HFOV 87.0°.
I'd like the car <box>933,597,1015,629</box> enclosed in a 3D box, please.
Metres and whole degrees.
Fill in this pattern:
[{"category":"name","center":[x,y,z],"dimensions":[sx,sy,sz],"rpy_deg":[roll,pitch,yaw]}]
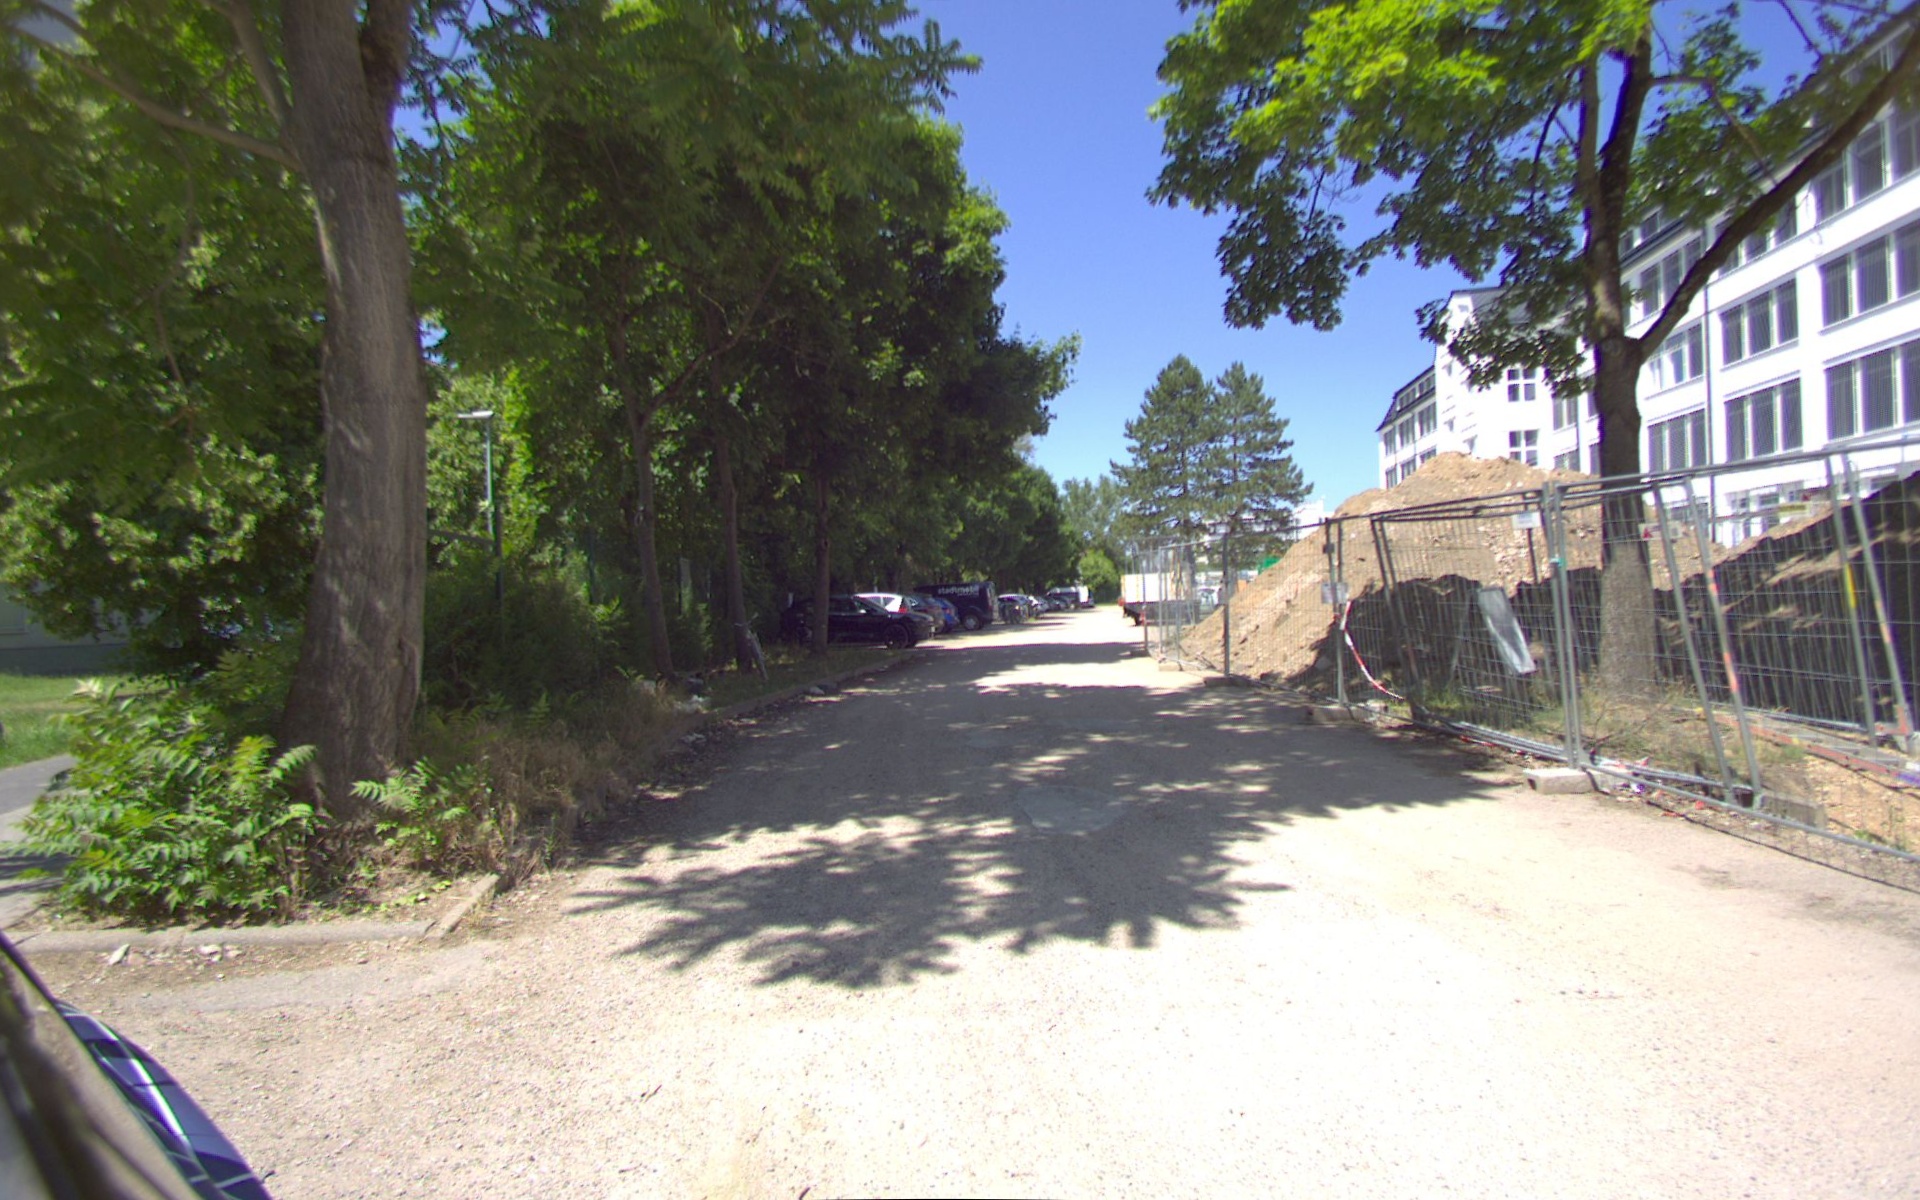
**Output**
[{"category":"car","center":[0.727,0.625,49.416],"dimensions":[3.749,1.420,1.735],"rpy_deg":[-2,0,11]}]

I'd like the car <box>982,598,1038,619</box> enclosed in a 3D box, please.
[{"category":"car","center":[3.563,0.598,71.350],"dimensions":[3.749,1.420,1.735],"rpy_deg":[-2,0,11]}]

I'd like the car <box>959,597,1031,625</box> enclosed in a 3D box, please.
[{"category":"car","center":[1.943,0.581,55.878],"dimensions":[3.749,1.420,1.735],"rpy_deg":[-2,0,11]}]

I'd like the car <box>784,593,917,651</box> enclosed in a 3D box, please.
[{"category":"car","center":[-3.346,0.656,31.288],"dimensions":[3.747,1.647,1.843],"rpy_deg":[-2,0,9]}]

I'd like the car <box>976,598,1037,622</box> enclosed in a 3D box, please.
[{"category":"car","center":[3.018,0.647,65.316],"dimensions":[3.749,1.420,1.735],"rpy_deg":[-2,0,11]}]

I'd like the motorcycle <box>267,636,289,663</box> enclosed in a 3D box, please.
[{"category":"motorcycle","center":[-32.910,2.376,48.833],"dimensions":[0.688,1.176,2.318],"rpy_deg":[-2,0,-30]}]

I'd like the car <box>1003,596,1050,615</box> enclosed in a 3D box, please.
[{"category":"car","center":[5.568,0.467,84.616],"dimensions":[3.749,1.420,1.735],"rpy_deg":[-2,0,11]}]

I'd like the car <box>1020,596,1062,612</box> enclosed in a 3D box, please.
[{"category":"car","center":[7.724,0.334,96.225],"dimensions":[3.749,1.420,1.735],"rpy_deg":[-2,0,11]}]

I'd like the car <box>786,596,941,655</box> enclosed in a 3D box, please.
[{"category":"car","center":[-2.645,0.699,28.122],"dimensions":[3.956,1.514,1.685],"rpy_deg":[-2,0,10]}]

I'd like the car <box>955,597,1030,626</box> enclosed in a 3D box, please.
[{"category":"car","center":[1.746,0.615,53.914],"dimensions":[3.749,1.420,1.735],"rpy_deg":[-2,0,11]}]

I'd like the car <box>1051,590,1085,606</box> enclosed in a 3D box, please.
[{"category":"car","center":[12.280,-0.197,115.271],"dimensions":[3.749,1.734,1.735],"rpy_deg":[-2,0,11]}]

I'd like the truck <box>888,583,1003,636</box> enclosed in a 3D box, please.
[{"category":"truck","center":[-0.559,0.386,41.911],"dimensions":[4.410,2.009,1.993],"rpy_deg":[-2,0,11]}]

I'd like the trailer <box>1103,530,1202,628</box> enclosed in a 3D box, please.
[{"category":"trailer","center":[7.940,-0.803,40.772],"dimensions":[3.016,3.447,8.724],"rpy_deg":[-1,0,17]}]

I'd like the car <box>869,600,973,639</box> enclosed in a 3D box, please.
[{"category":"car","center":[-1.481,0.747,39.356],"dimensions":[3.747,1.420,1.736],"rpy_deg":[-2,0,9]}]

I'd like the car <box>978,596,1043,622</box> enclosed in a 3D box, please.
[{"category":"car","center":[3.070,0.538,61.168],"dimensions":[3.749,1.420,1.735],"rpy_deg":[-2,0,11]}]

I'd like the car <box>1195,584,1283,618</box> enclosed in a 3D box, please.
[{"category":"car","center":[12.826,0.051,46.697],"dimensions":[3.749,1.420,1.735],"rpy_deg":[-2,0,11]}]

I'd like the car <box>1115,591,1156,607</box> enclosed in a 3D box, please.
[{"category":"car","center":[16.601,-0.063,95.748],"dimensions":[3.749,1.420,1.735],"rpy_deg":[-2,0,11]}]

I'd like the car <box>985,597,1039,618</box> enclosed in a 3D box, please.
[{"category":"car","center":[3.812,0.570,74.141],"dimensions":[3.749,1.420,1.735],"rpy_deg":[-2,0,11]}]

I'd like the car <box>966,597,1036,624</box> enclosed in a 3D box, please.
[{"category":"car","center":[2.375,0.572,57.688],"dimensions":[3.749,1.420,1.735],"rpy_deg":[-2,0,11]}]

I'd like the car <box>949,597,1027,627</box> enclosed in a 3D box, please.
[{"category":"car","center":[1.458,0.592,51.614],"dimensions":[3.749,1.420,1.735],"rpy_deg":[-2,0,11]}]

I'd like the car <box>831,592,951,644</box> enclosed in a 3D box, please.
[{"category":"car","center":[-2.308,0.611,34.471],"dimensions":[3.747,1.647,1.843],"rpy_deg":[-2,0,9]}]
